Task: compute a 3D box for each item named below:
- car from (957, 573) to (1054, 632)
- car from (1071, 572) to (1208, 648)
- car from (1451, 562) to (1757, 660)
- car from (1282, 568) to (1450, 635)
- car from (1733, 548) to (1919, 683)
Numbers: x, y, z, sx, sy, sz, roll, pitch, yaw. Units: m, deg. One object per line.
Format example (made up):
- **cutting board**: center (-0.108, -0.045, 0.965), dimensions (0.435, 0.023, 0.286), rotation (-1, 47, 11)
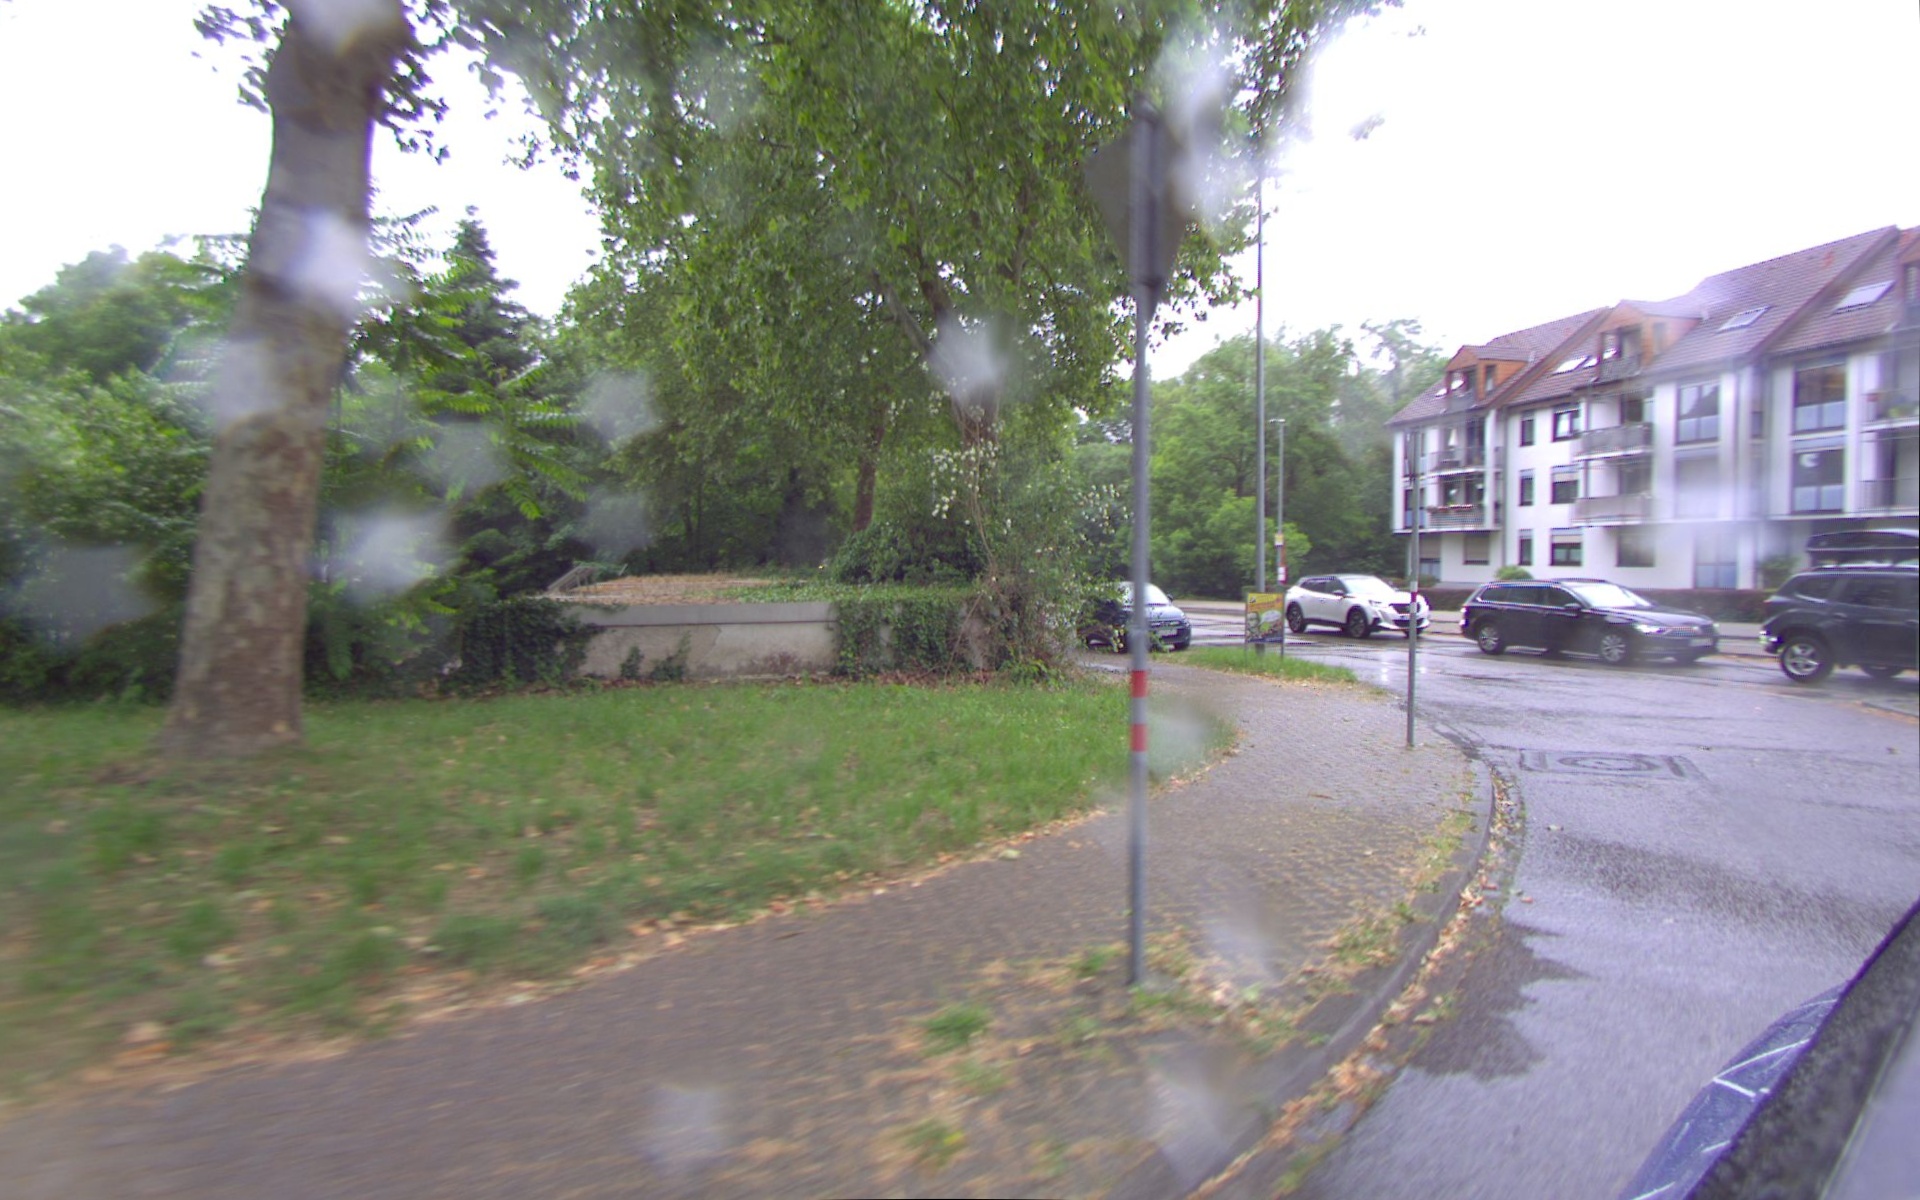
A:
- **car**: center (1.375, 0.077, 32.475), dimensions (1.789, 1.535, 3.750), rotation (-9, 2, -17)
- **car**: center (4.079, 0.149, 23.529), dimensions (1.719, 1.509, 3.608), rotation (-4, 3, -15)
- **car**: center (11.687, 0.157, 18.813), dimensions (1.799, 1.474, 4.668), rotation (-4, 1, -18)
- **car**: center (10.211, -0.030, 25.849), dimensions (1.721, 1.555, 4.377), rotation (0, 1, -15)
- **car**: center (13.215, 0.165, 13.358), dimensions (1.729, 1.732, 4.610), rotation (-2, 1, -16)
